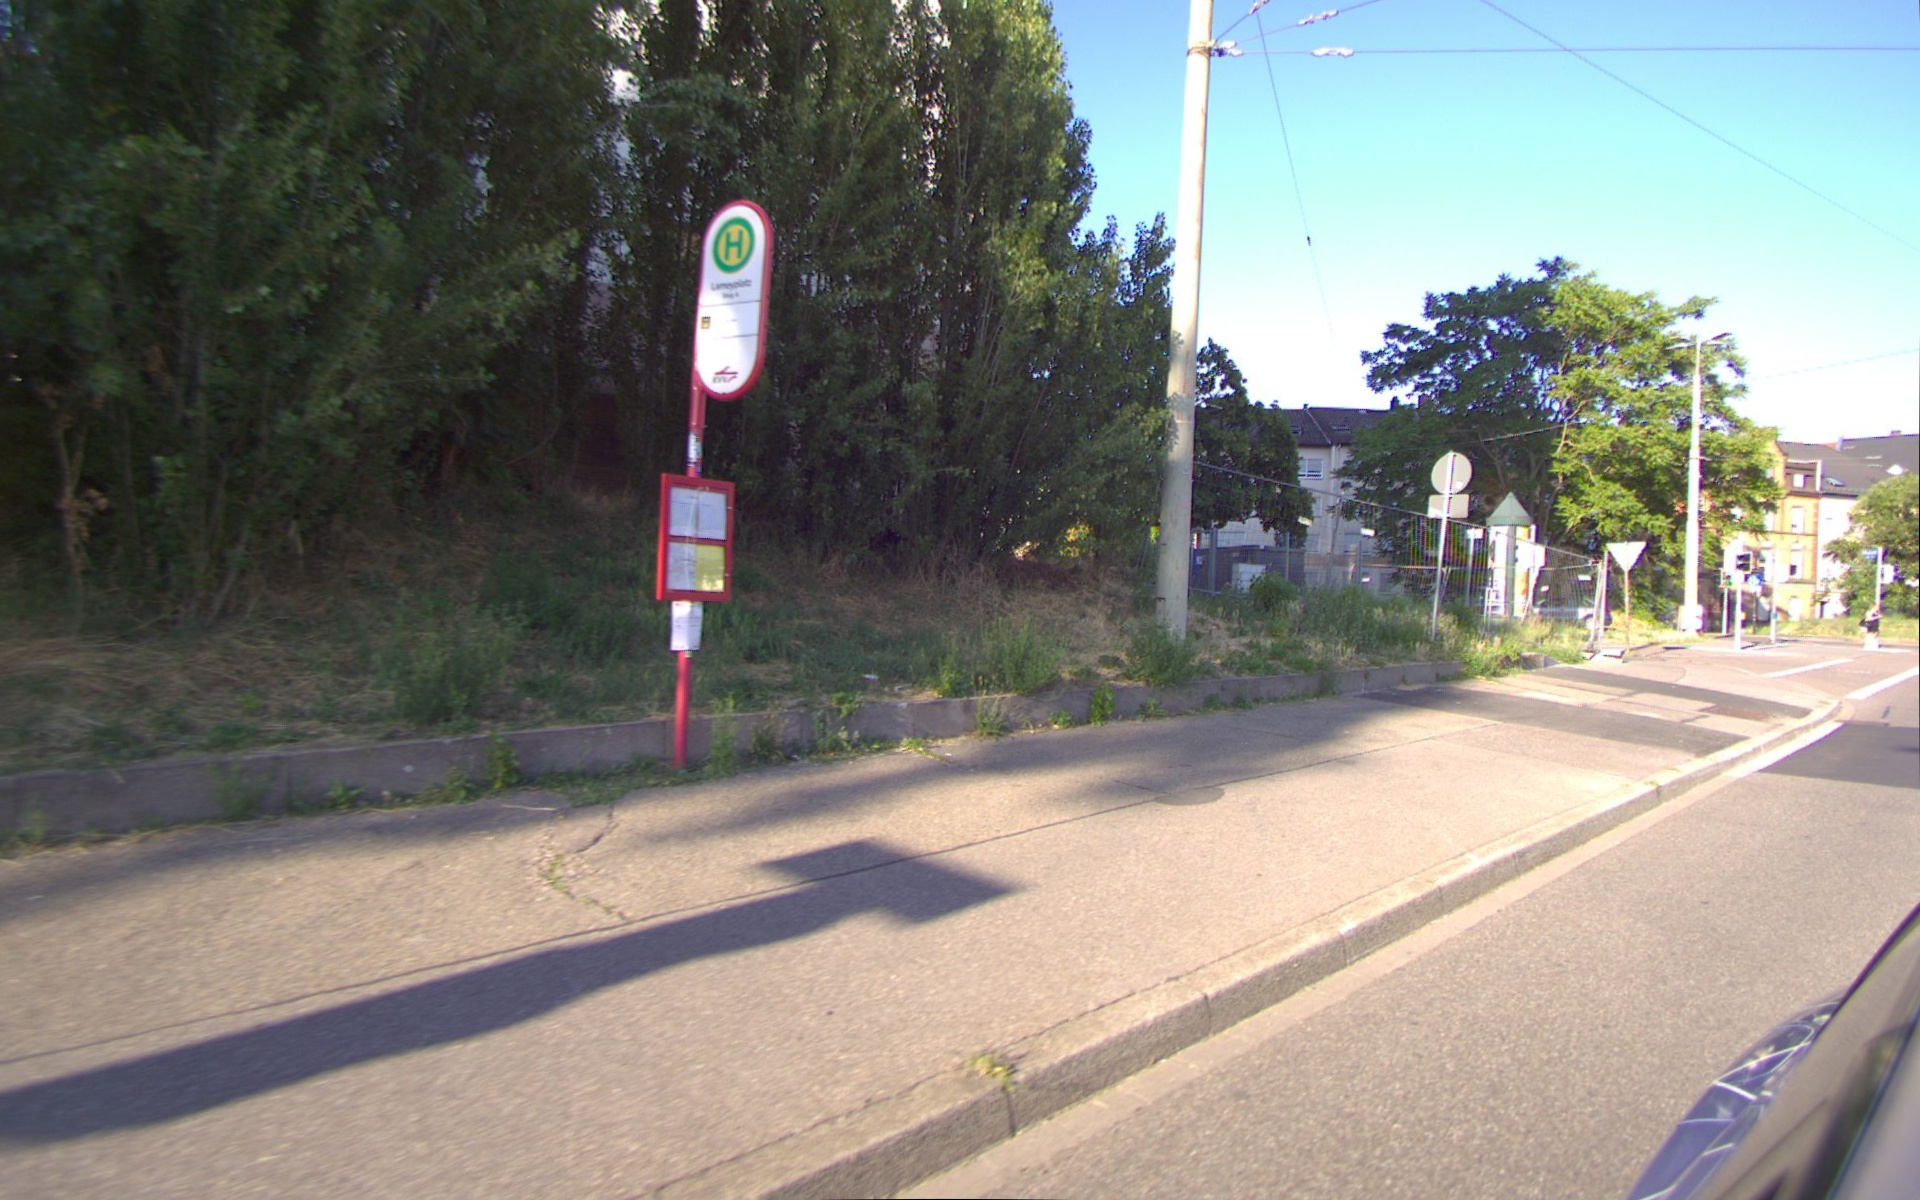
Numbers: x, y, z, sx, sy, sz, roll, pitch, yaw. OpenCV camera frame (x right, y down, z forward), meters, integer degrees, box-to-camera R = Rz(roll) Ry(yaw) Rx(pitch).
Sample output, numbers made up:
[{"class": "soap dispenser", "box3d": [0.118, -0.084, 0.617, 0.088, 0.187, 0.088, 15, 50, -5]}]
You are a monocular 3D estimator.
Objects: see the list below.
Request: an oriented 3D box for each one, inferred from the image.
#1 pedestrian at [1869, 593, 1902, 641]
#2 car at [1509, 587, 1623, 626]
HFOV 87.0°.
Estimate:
[{"class": "pedestrian", "box3d": [31.627, 0.572, 34.588, 0.535, 1.615, 0.595, 2, 1, -6]}, {"class": "car", "box3d": [27.733, 0.268, 46.487, 4.289, 1.567, 1.803, 2, 1, 26]}]
